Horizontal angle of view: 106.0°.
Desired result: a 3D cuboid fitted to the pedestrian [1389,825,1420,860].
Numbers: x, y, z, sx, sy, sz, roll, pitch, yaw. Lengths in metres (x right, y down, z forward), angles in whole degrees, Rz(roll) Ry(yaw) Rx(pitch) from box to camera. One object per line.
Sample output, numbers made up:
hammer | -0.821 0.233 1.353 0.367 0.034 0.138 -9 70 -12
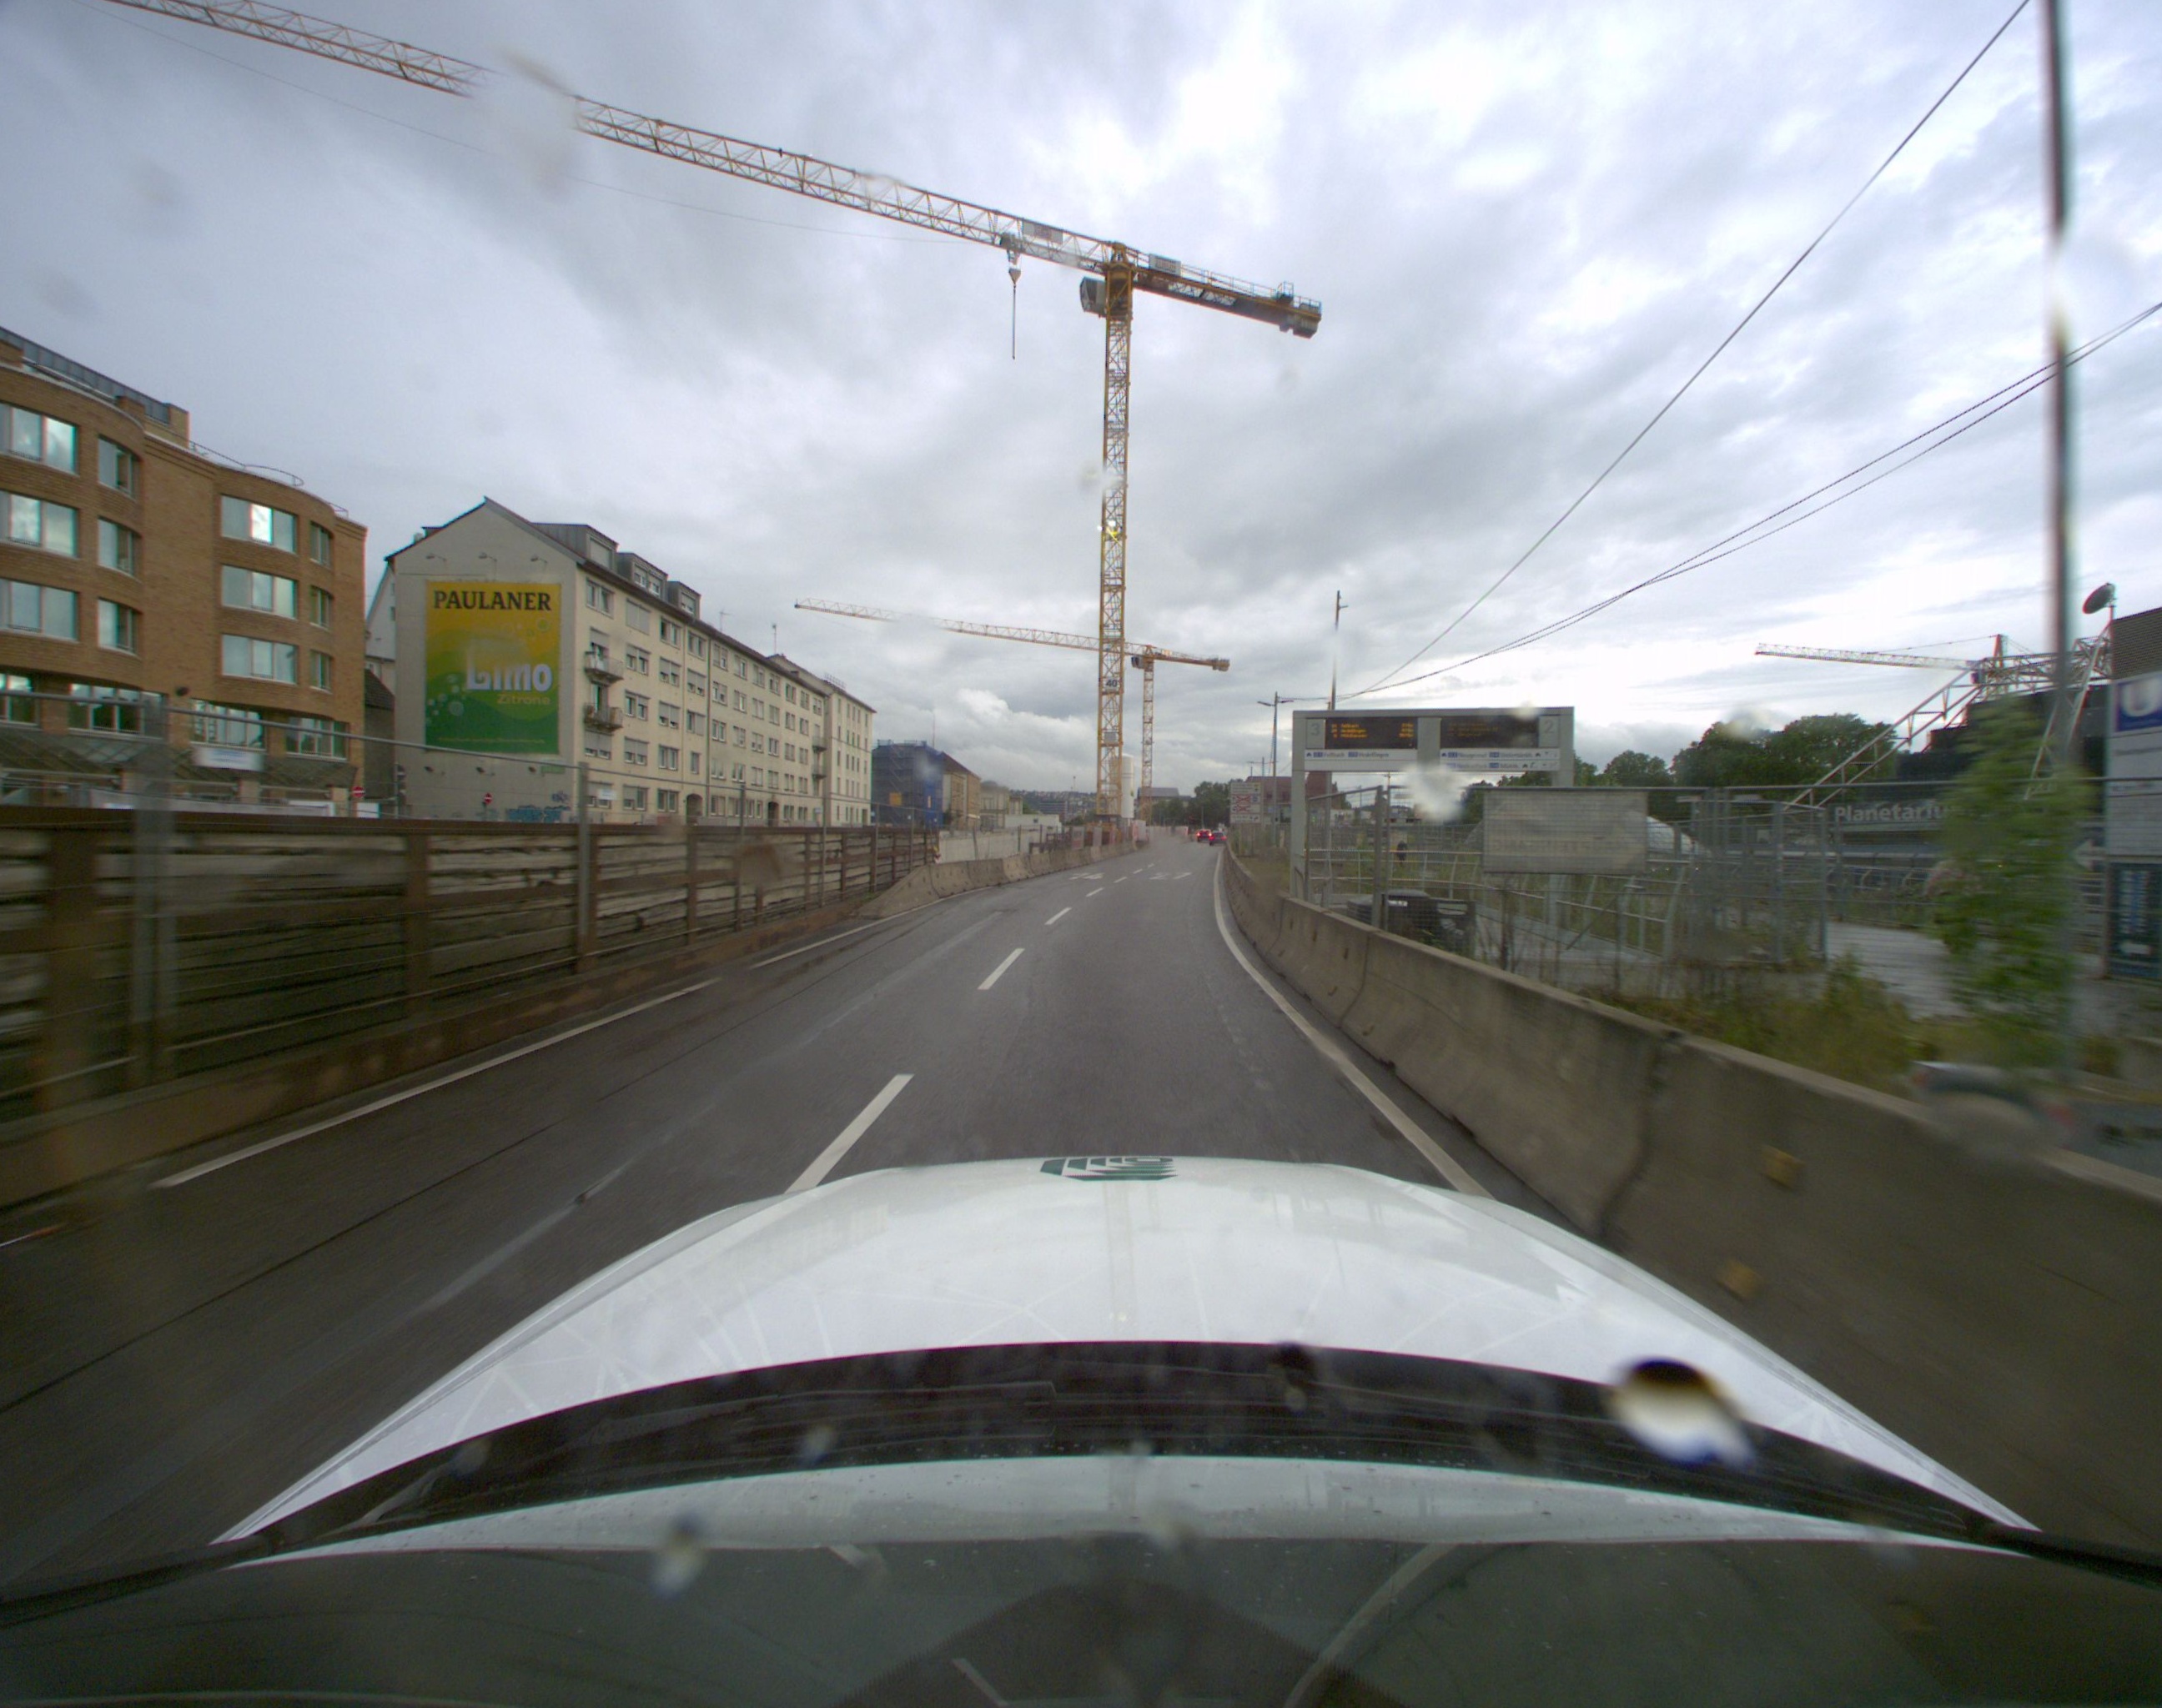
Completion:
pedestrian | 15.316 -0.551 38.603 1.023 1.658 0.893 0 0 -20

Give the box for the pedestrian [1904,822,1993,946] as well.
pedestrian | 13.000 0.424 12.229 0.683 1.778 0.820 0 0 27

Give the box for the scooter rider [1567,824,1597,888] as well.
scooter rider | 14.115 0.042 22.955 0.517 1.755 0.702 0 1 12

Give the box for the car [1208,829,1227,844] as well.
car | 14.343 -1.792 85.665 1.852 1.433 4.668 -2 0 9

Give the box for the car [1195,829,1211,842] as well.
car | 15.714 -2.404 104.538 1.851 1.660 4.669 1 2 10

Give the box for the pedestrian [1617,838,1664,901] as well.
pedestrian | 16.105 0.422 23.459 0.722 1.778 1.024 0 0 5

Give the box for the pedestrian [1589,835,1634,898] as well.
pedestrian | 15.312 0.335 23.519 0.686 1.778 1.025 0 0 6
